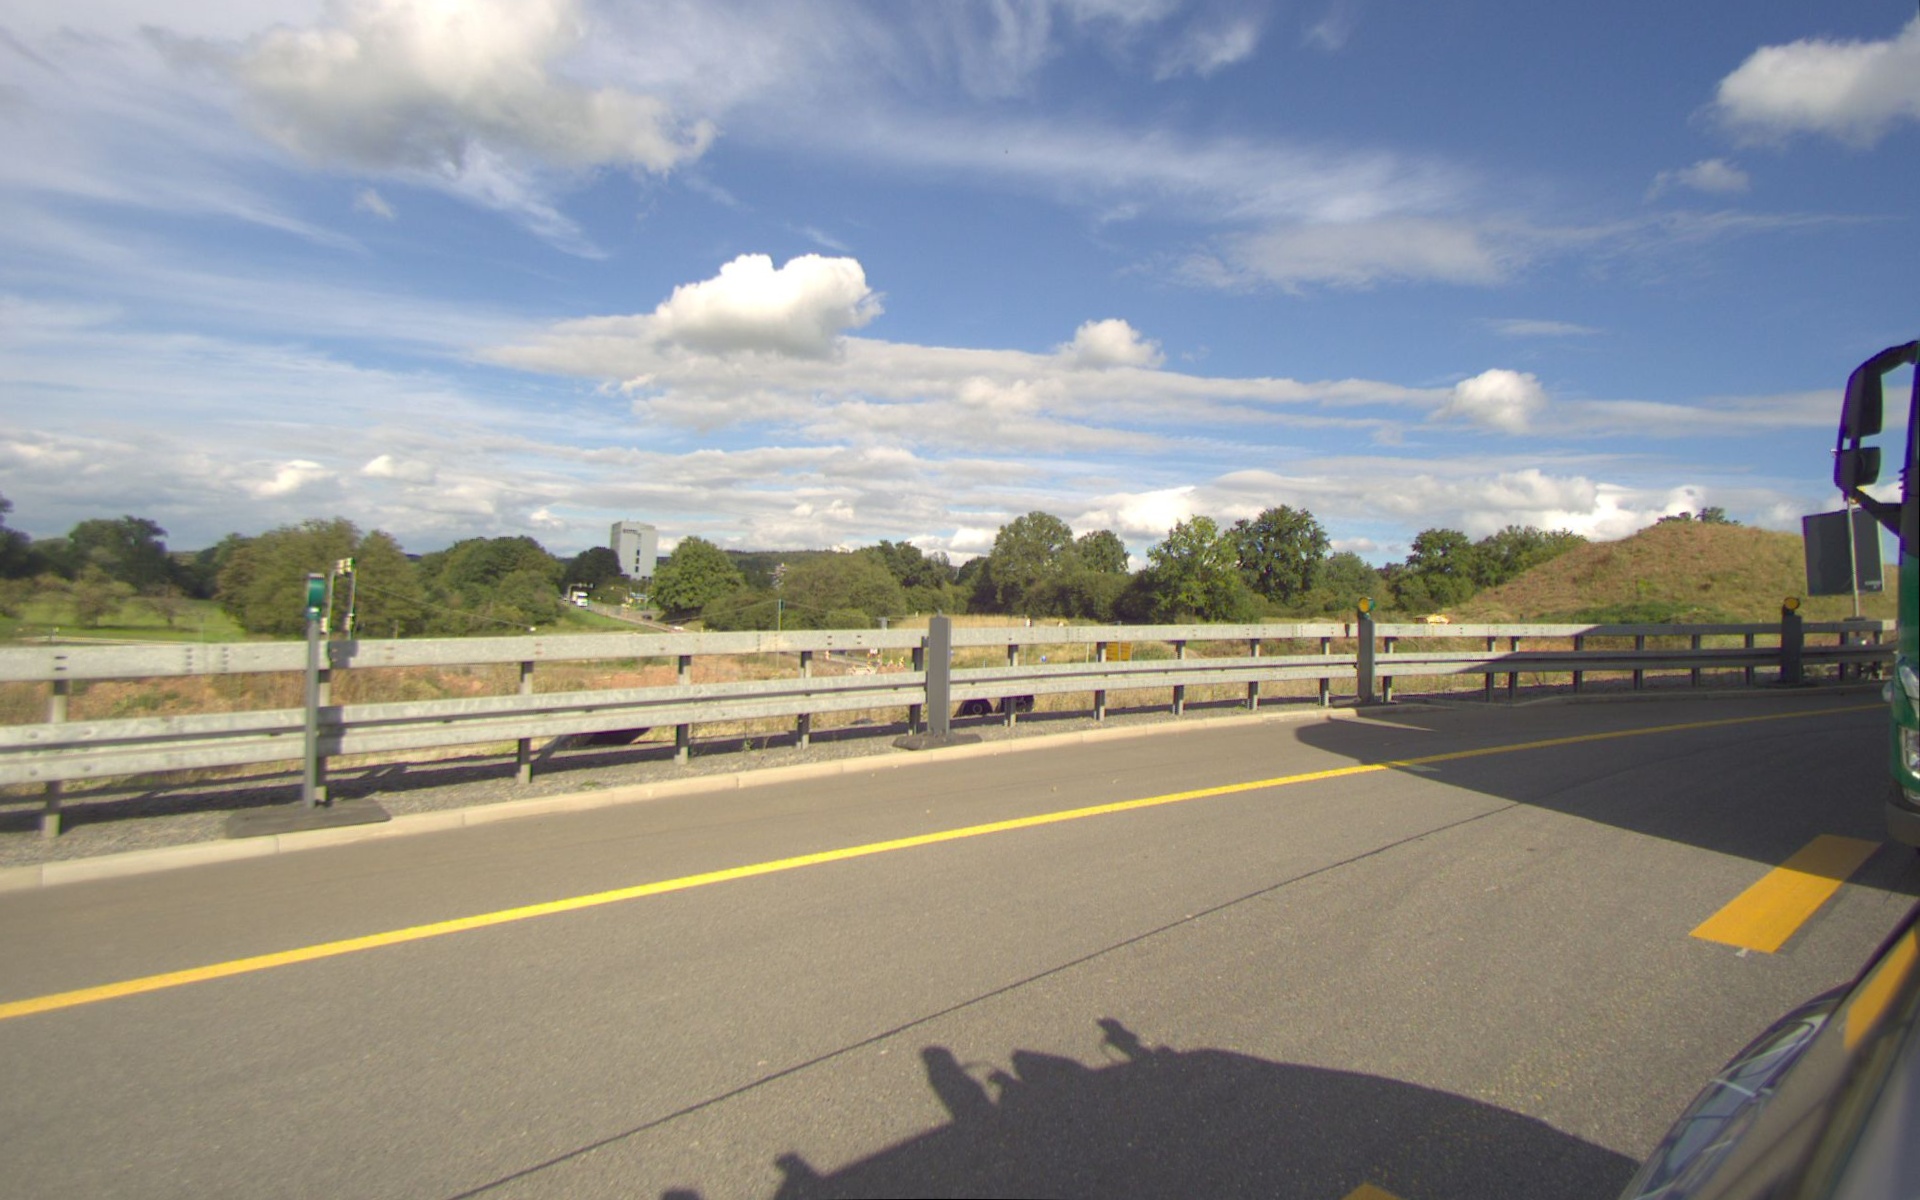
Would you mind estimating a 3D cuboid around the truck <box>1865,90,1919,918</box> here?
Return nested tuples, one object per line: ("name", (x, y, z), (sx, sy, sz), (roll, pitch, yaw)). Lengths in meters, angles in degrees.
("truck", (9.021, -0.526, 7.337), (10.143, 3.896, 2.660), (-1, 0, -43))
